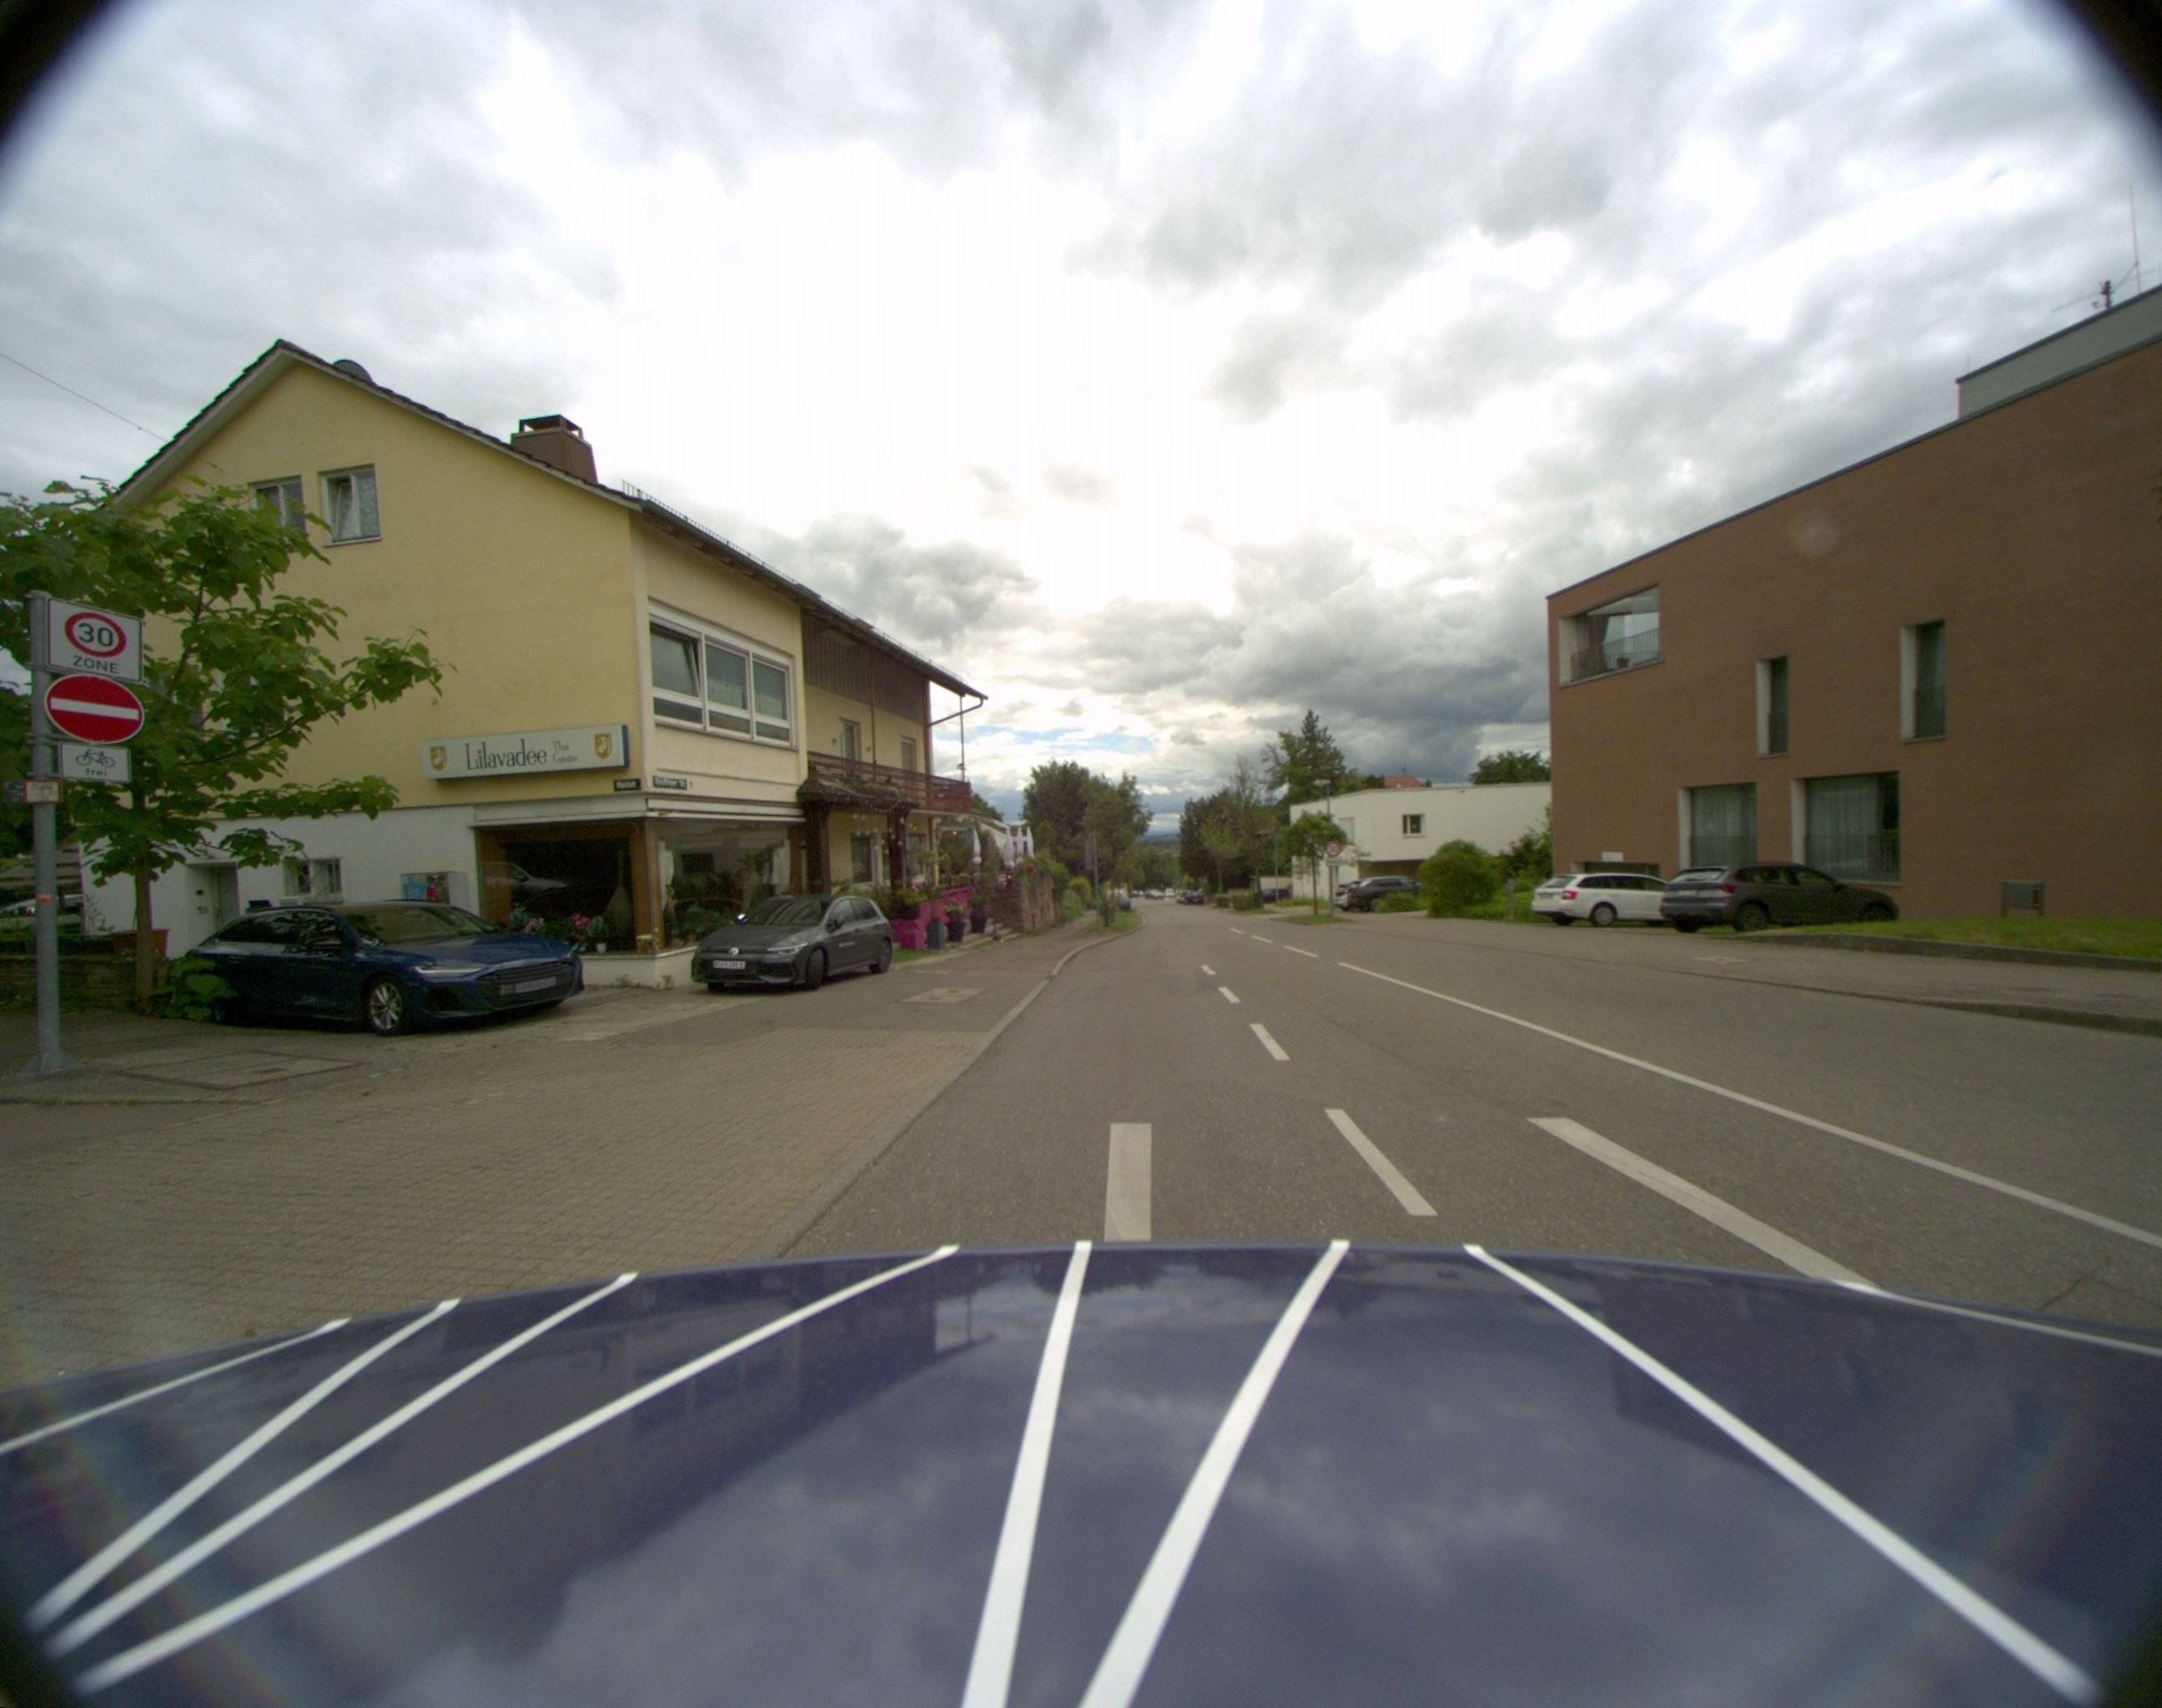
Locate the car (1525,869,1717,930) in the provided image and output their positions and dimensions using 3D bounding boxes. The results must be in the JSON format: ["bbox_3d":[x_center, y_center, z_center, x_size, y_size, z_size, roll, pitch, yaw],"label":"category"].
[{"bbox_3d":[14.622,1.221,20.712,3.998,1.476,1.727,-1,-3,-3],"label":"car"}]

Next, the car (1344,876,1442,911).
[{"bbox_3d":[15.064,1.912,36.875,3.996,1.585,1.795,-2,-3,3],"label":"car"}]

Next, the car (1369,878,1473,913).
[{"bbox_3d":[15.609,1.913,35.033,3.996,1.476,1.728,-2,-3,3],"label":"car"}]

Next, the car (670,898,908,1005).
[{"bbox_3d":[-4.536,1.487,12.626,1.796,1.452,4.332,-1,-4,8],"label":"car"}]

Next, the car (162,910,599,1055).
[{"bbox_3d":[-8.523,1.425,9.288,4.739,1.378,1.802,-2,-1,18],"label":"car"}]

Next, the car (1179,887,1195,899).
[{"bbox_3d":[12.510,4.577,89.574,1.661,1.412,4.372,-2,-3,6],"label":"car"}]

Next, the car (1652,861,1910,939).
[{"bbox_3d":[14.920,0.968,16.341,3.998,1.476,1.727,-1,-3,-3],"label":"car"}]

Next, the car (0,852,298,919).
[{"bbox_3d":[-22.773,0.828,18.802,1.795,1.452,4.336,-2,-4,22],"label":"car"}]

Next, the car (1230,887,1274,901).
[{"bbox_3d":[16.558,3.906,73.727,3.995,1.278,1.665,-2,-3,7],"label":"car"}]

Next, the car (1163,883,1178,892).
[{"bbox_3d":[16.222,6.098,137.970,1.884,1.412,4.368,-1,-1,-2],"label":"car"}]

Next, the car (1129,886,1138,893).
[{"bbox_3d":[12.622,8.609,183.264,1.883,1.412,4.369,-1,-1,1],"label":"car"}]

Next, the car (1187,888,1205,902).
[{"bbox_3d":[12.192,4.320,80.576,1.661,1.412,4.004,-2,-3,6],"label":"car"}]

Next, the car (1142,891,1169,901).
[{"bbox_3d":[11.667,6.532,119.532,1.888,1.412,4.357,-1,-1,-35],"label":"car"}]
